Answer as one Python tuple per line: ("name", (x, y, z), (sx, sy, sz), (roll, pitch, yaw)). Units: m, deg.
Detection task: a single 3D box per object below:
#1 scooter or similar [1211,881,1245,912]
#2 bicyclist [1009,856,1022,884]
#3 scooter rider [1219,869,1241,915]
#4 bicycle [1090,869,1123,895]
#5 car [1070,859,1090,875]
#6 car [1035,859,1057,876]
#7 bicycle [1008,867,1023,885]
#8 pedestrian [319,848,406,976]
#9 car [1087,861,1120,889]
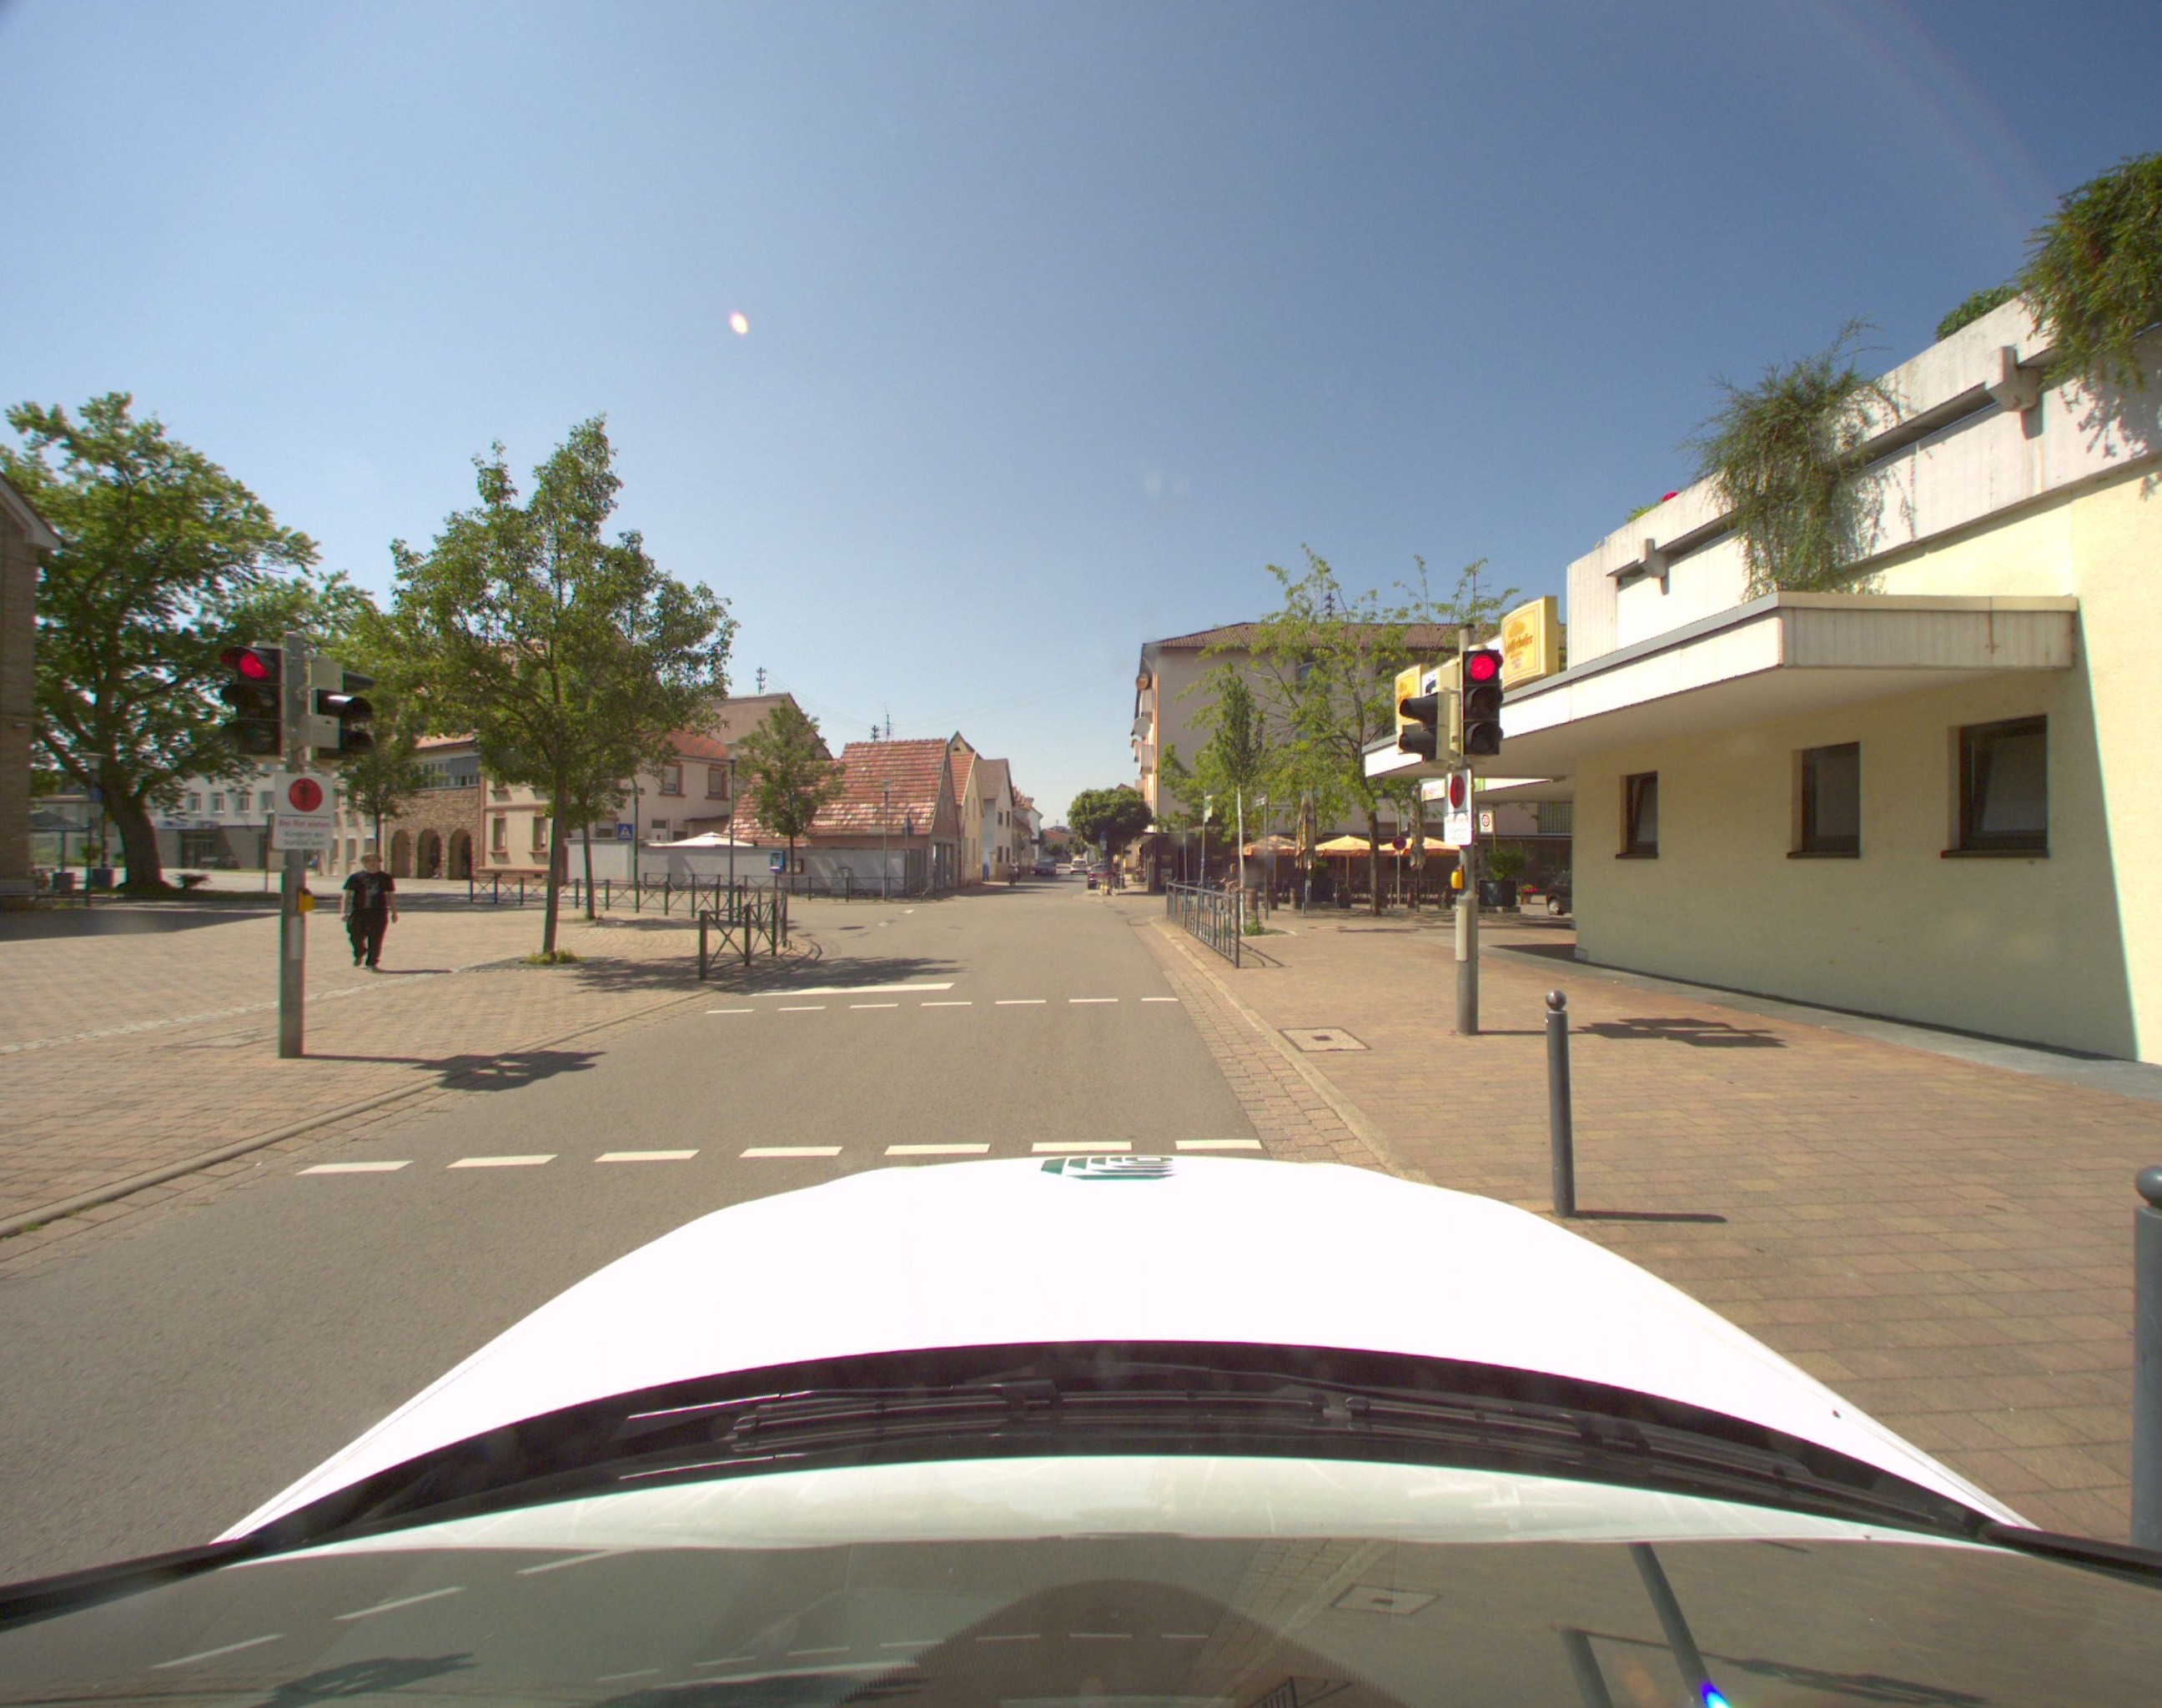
("scooter or similar", (4.205, 1.208, 23.241), (0.890, 0.873, 0.377), (0, -1, -19))
("bicyclist", (-4.013, 0.963, 49.938), (0.666, 1.691, 0.762), (-1, -1, 1))
("scooter rider", (4.244, 1.080, 23.251), (0.418, 1.286, 0.514), (0, -1, -19))
("bicycle", (1.209, 1.302, 38.777), (0.530, 1.193, 1.655), (1, -1, -42))
("car", (-0.095, 1.347, 85.102), (1.826, 1.652, 4.002), (0, -1, 2))
("car", (-3.369, 1.279, 78.461), (1.707, 1.517, 3.789), (0, -1, 3))
("bicycle", (-4.004, 1.354, 50.045), (0.671, 1.094, 1.896), (-1, -1, 2))
("pedestrian", (-9.807, 0.762, 11.154), (0.818, 1.655, 0.841), (2, -2, -40))
("car", (1.346, 1.192, 47.517), (1.797, 1.501, 4.003), (0, 0, 3))
